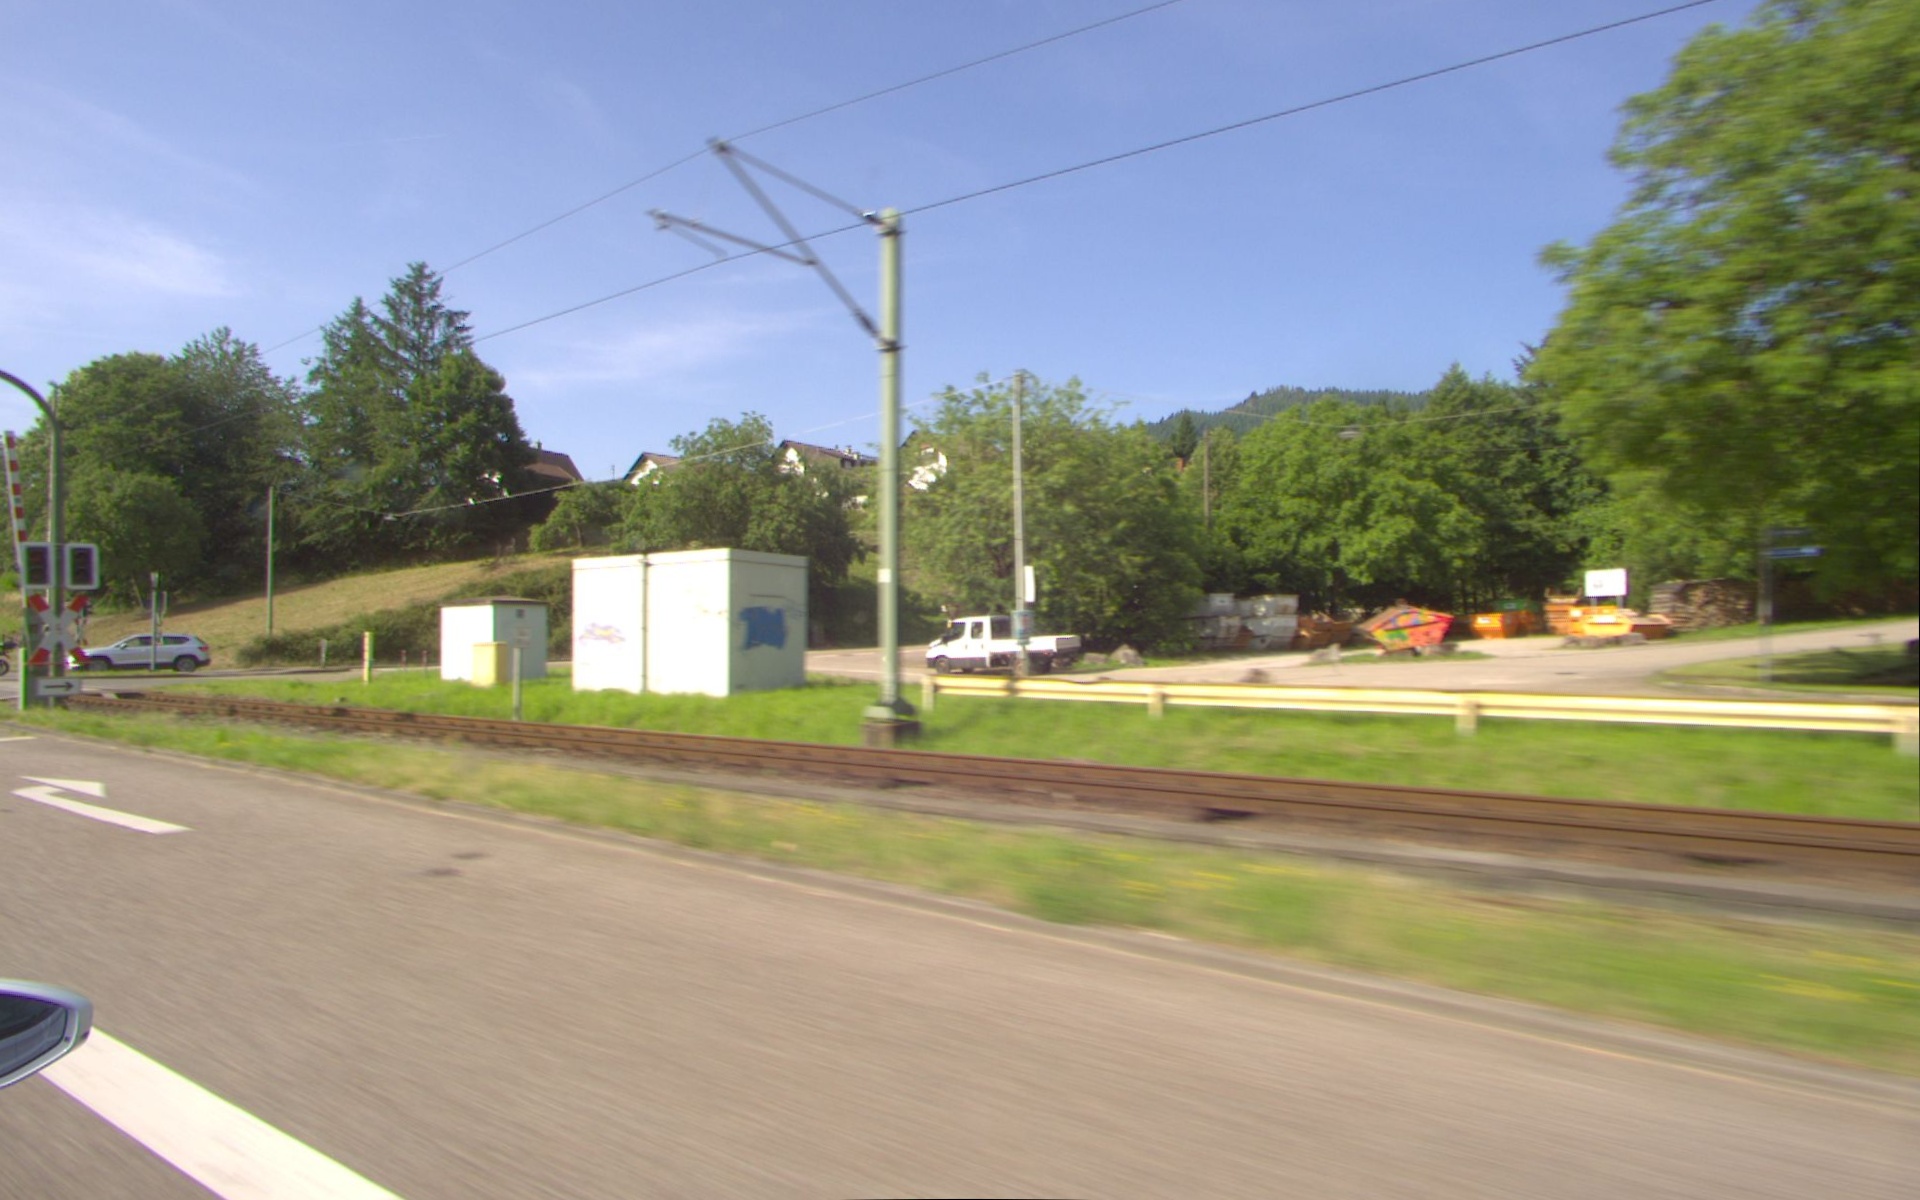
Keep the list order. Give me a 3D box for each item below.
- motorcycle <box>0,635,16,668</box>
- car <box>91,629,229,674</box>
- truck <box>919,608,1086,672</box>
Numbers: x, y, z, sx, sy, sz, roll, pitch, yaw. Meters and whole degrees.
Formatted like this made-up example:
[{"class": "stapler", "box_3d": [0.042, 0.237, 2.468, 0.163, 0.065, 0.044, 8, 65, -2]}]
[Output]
[{"class": "motorcycle", "box_3d": [-37.896, 1.995, 38.625, 2.076, 1.270, 0.793, 2, -2, -39]}, {"class": "car", "box_3d": [-31.462, 2.022, 39.457, 4.087, 1.708, 1.817, 3, -3, -44]}, {"class": "truck", "box_3d": [1.573, 1.533, 37.934, 5.854, 2.261, 2.395, -3, -1, 32]}]
